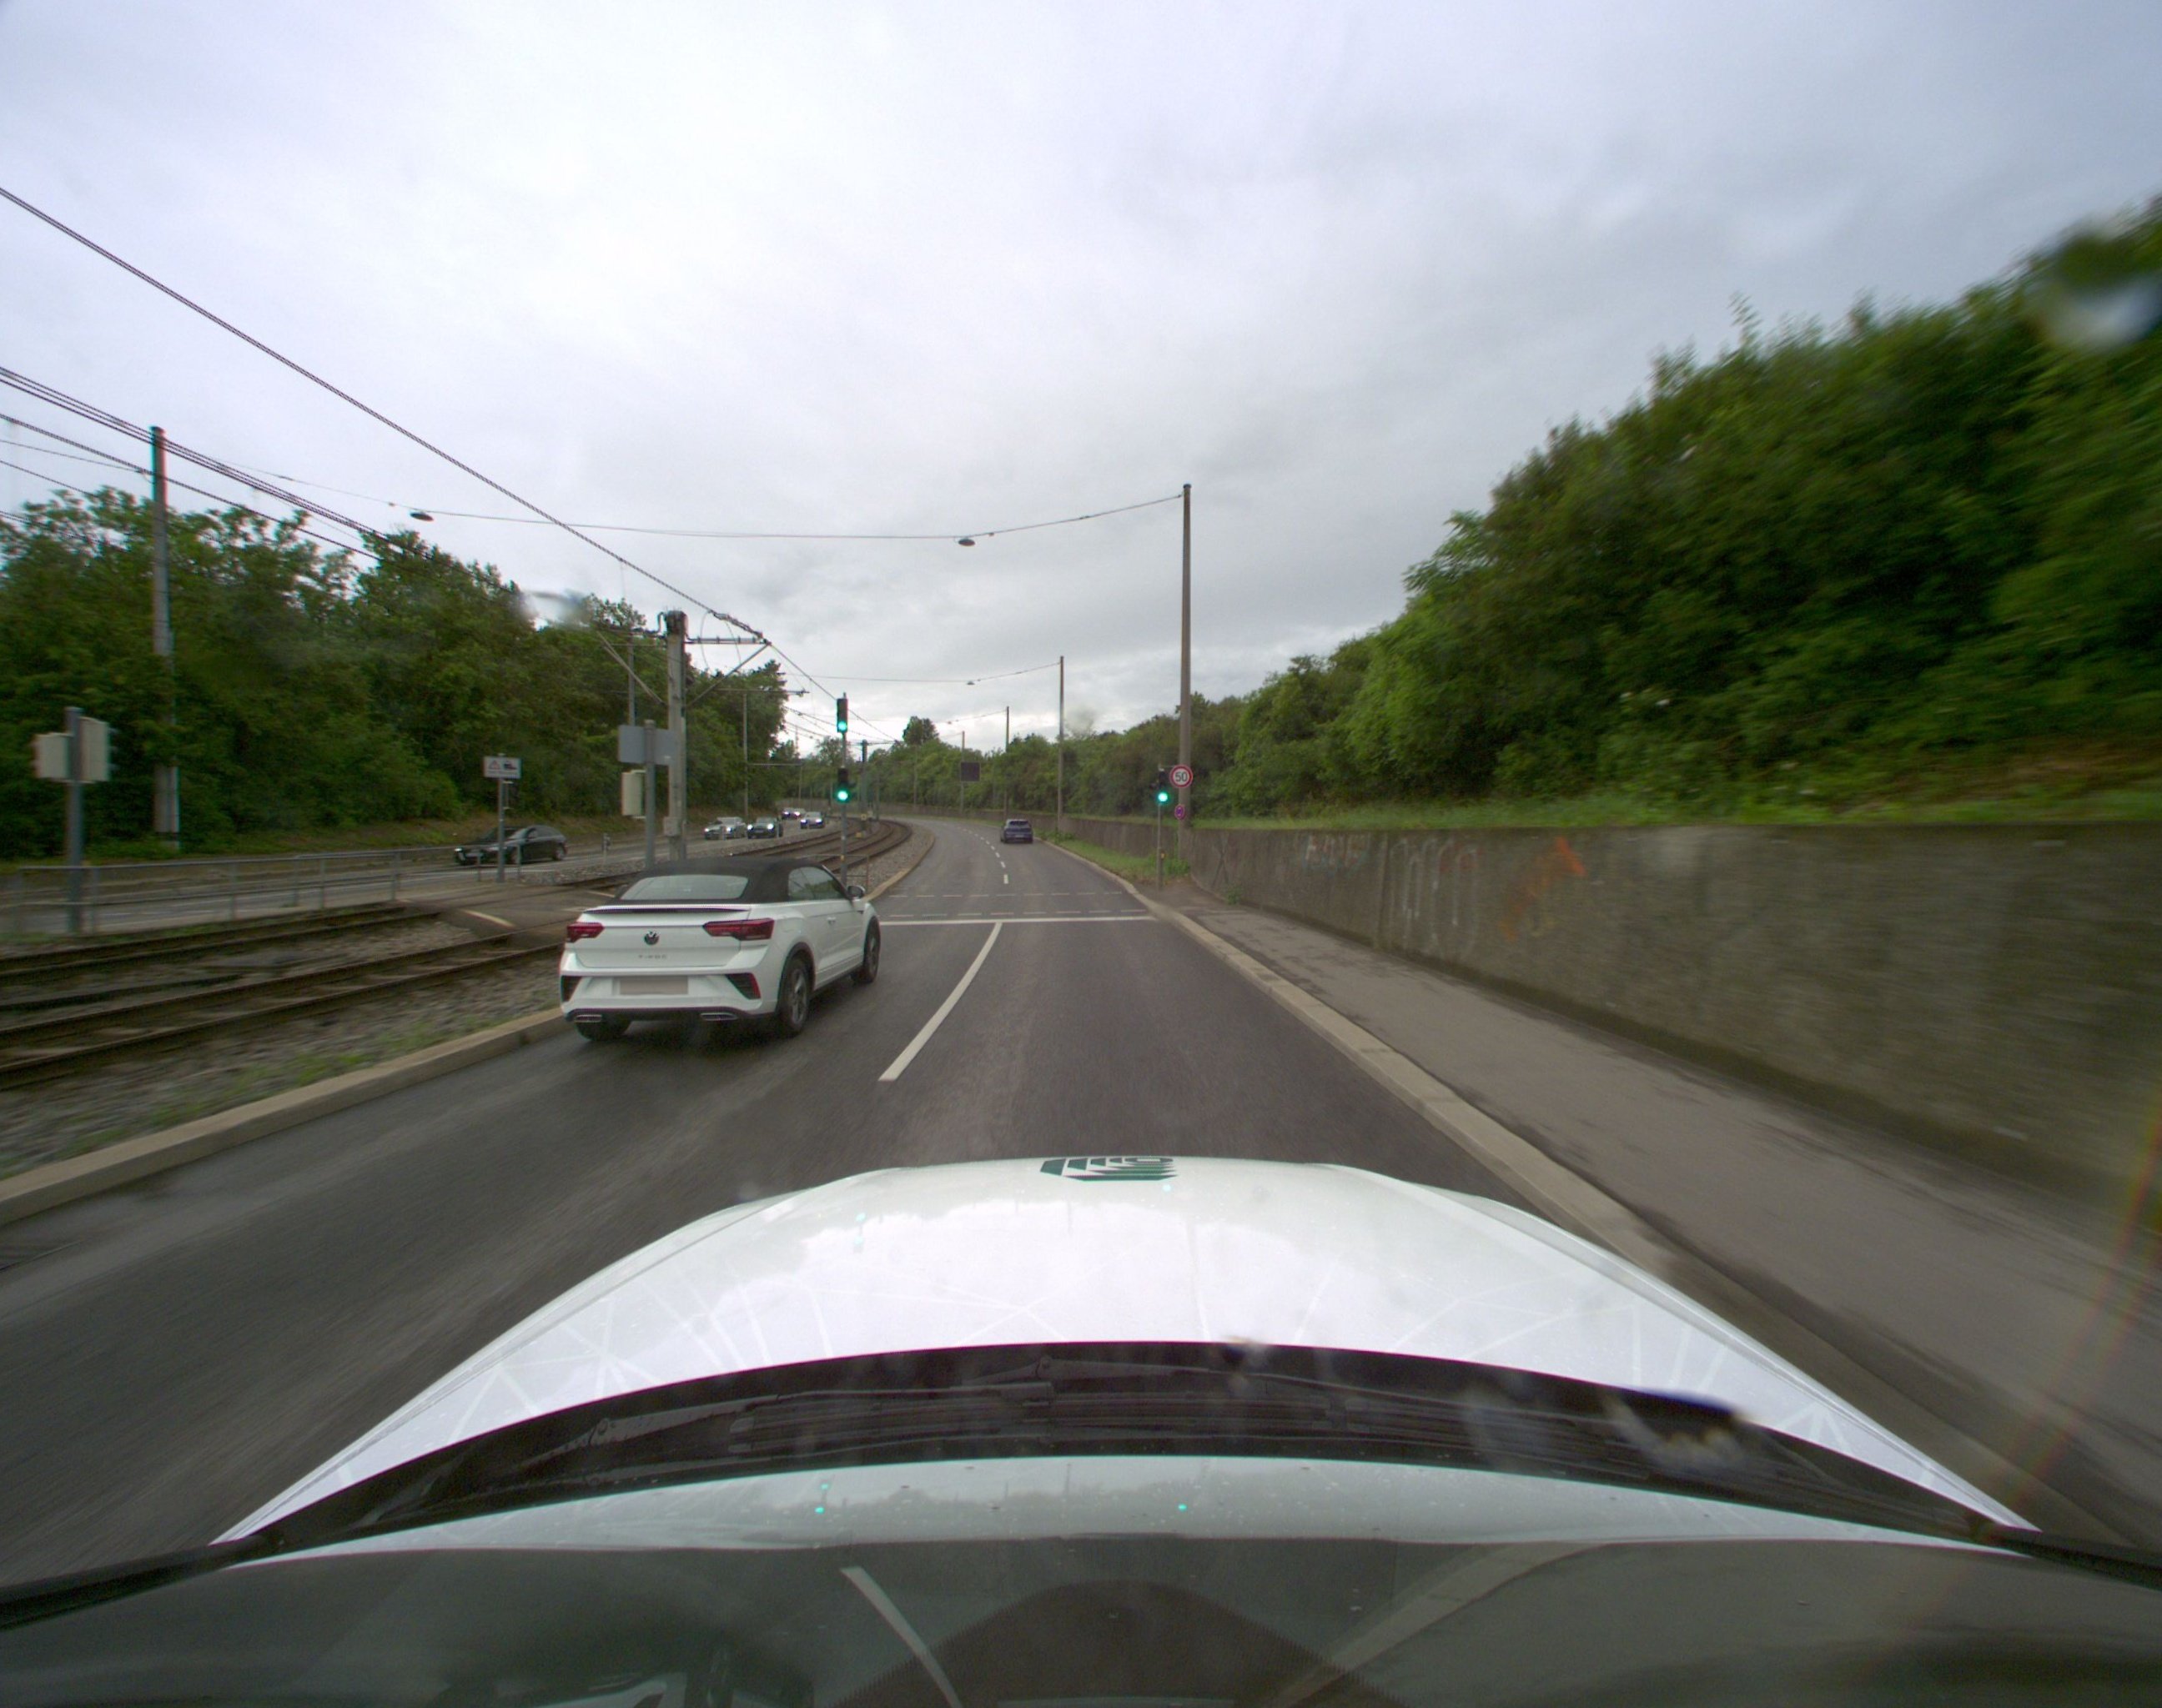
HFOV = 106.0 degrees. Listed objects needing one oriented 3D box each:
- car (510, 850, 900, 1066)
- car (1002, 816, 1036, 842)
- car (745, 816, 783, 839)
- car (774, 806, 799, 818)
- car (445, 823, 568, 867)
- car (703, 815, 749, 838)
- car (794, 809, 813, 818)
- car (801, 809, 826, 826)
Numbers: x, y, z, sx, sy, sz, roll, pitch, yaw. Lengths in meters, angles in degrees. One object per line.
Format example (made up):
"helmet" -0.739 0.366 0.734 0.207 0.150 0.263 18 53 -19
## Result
"car" -3.291 0.759 8.323 1.866 1.524 4.539 -1 1 0
"car" -3.855 -1.573 50.064 1.763 1.500 3.989 0 3 -9
"car" -20.907 -1.783 53.871 1.634 1.384 3.880 -2 3 -12
"car" -42.180 -6.081 116.532 1.799 1.669 4.685 -3 5 -41
"car" -20.960 -0.386 29.964 1.713 1.458 4.269 -1 2 -5
"car" -23.464 -1.863 53.995 1.820 1.379 4.687 -2 3 -12
"car" -43.573 -6.405 127.818 1.720 1.414 3.987 -2 4 -38
"car" -24.818 -3.385 75.696 1.864 1.438 4.833 -2 4 -14
